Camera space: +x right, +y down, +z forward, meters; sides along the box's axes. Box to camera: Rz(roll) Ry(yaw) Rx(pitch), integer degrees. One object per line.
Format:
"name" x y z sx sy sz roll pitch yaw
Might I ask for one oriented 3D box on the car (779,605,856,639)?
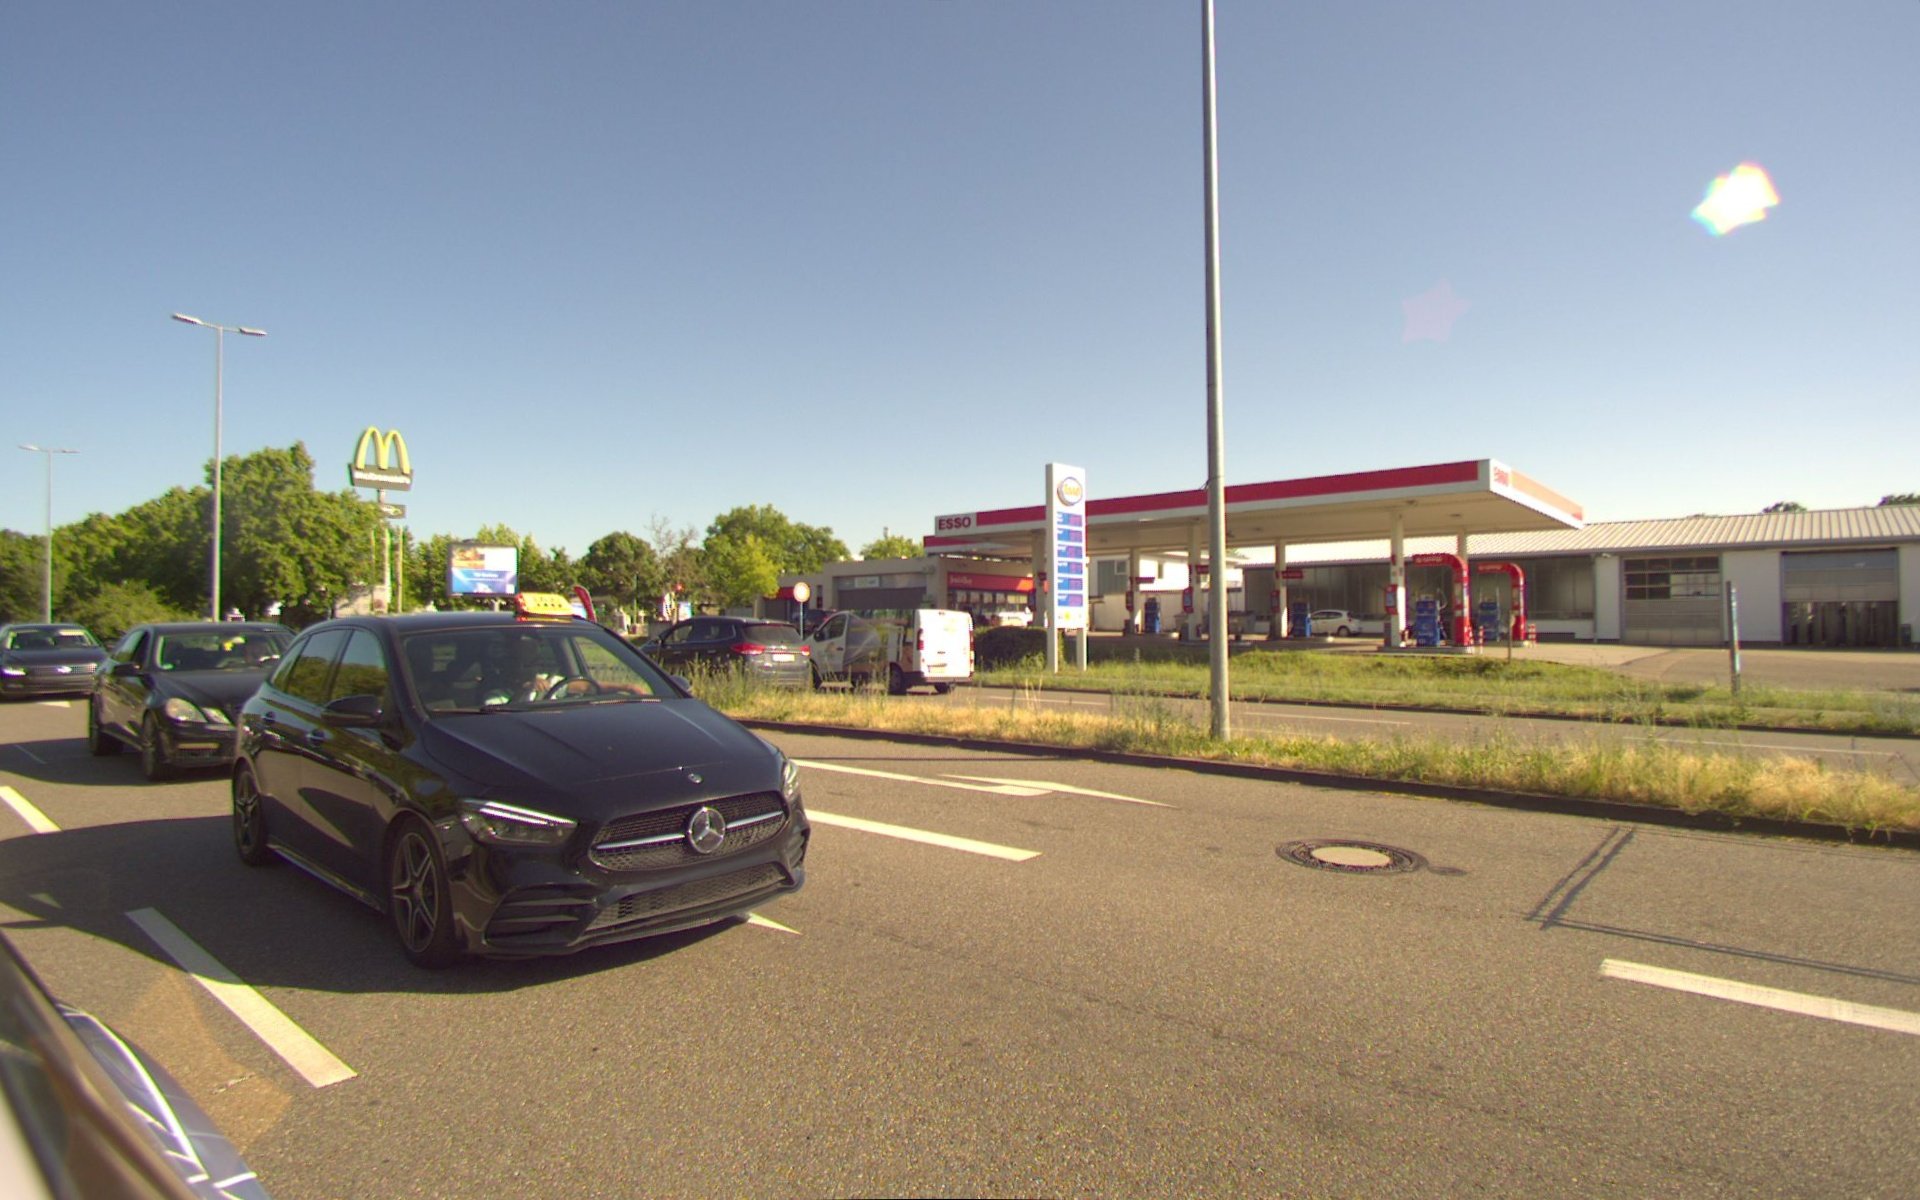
"car" -7.786 1.181 54.999 4.117 1.783 1.972 -2 -1 43

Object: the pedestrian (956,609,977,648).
"pedestrian" 0.329 1.471 52.455 0.840 2.029 0.694 -2 -2 41

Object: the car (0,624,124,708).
"car" -18.302 1.235 20.178 4.401 1.492 1.838 -2 -2 41

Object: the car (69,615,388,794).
"car" -7.939 0.951 10.825 4.401 1.535 1.838 -2 -2 41

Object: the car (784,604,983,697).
"car" -1.953 1.187 24.502 5.028 2.029 1.971 -2 -3 44

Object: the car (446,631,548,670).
"car" -18.416 1.984 40.155 4.605 1.457 1.884 -1 -4 41

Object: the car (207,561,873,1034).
"car" -2.565 0.737 5.593 4.187 1.638 1.780 -2 -2 42

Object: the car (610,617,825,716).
"car" -4.810 1.220 19.751 4.433 1.703 1.860 -2 -2 41

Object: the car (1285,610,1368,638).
"car" 19.854 1.322 54.866 3.844 1.450 1.730 -2 -2 39
